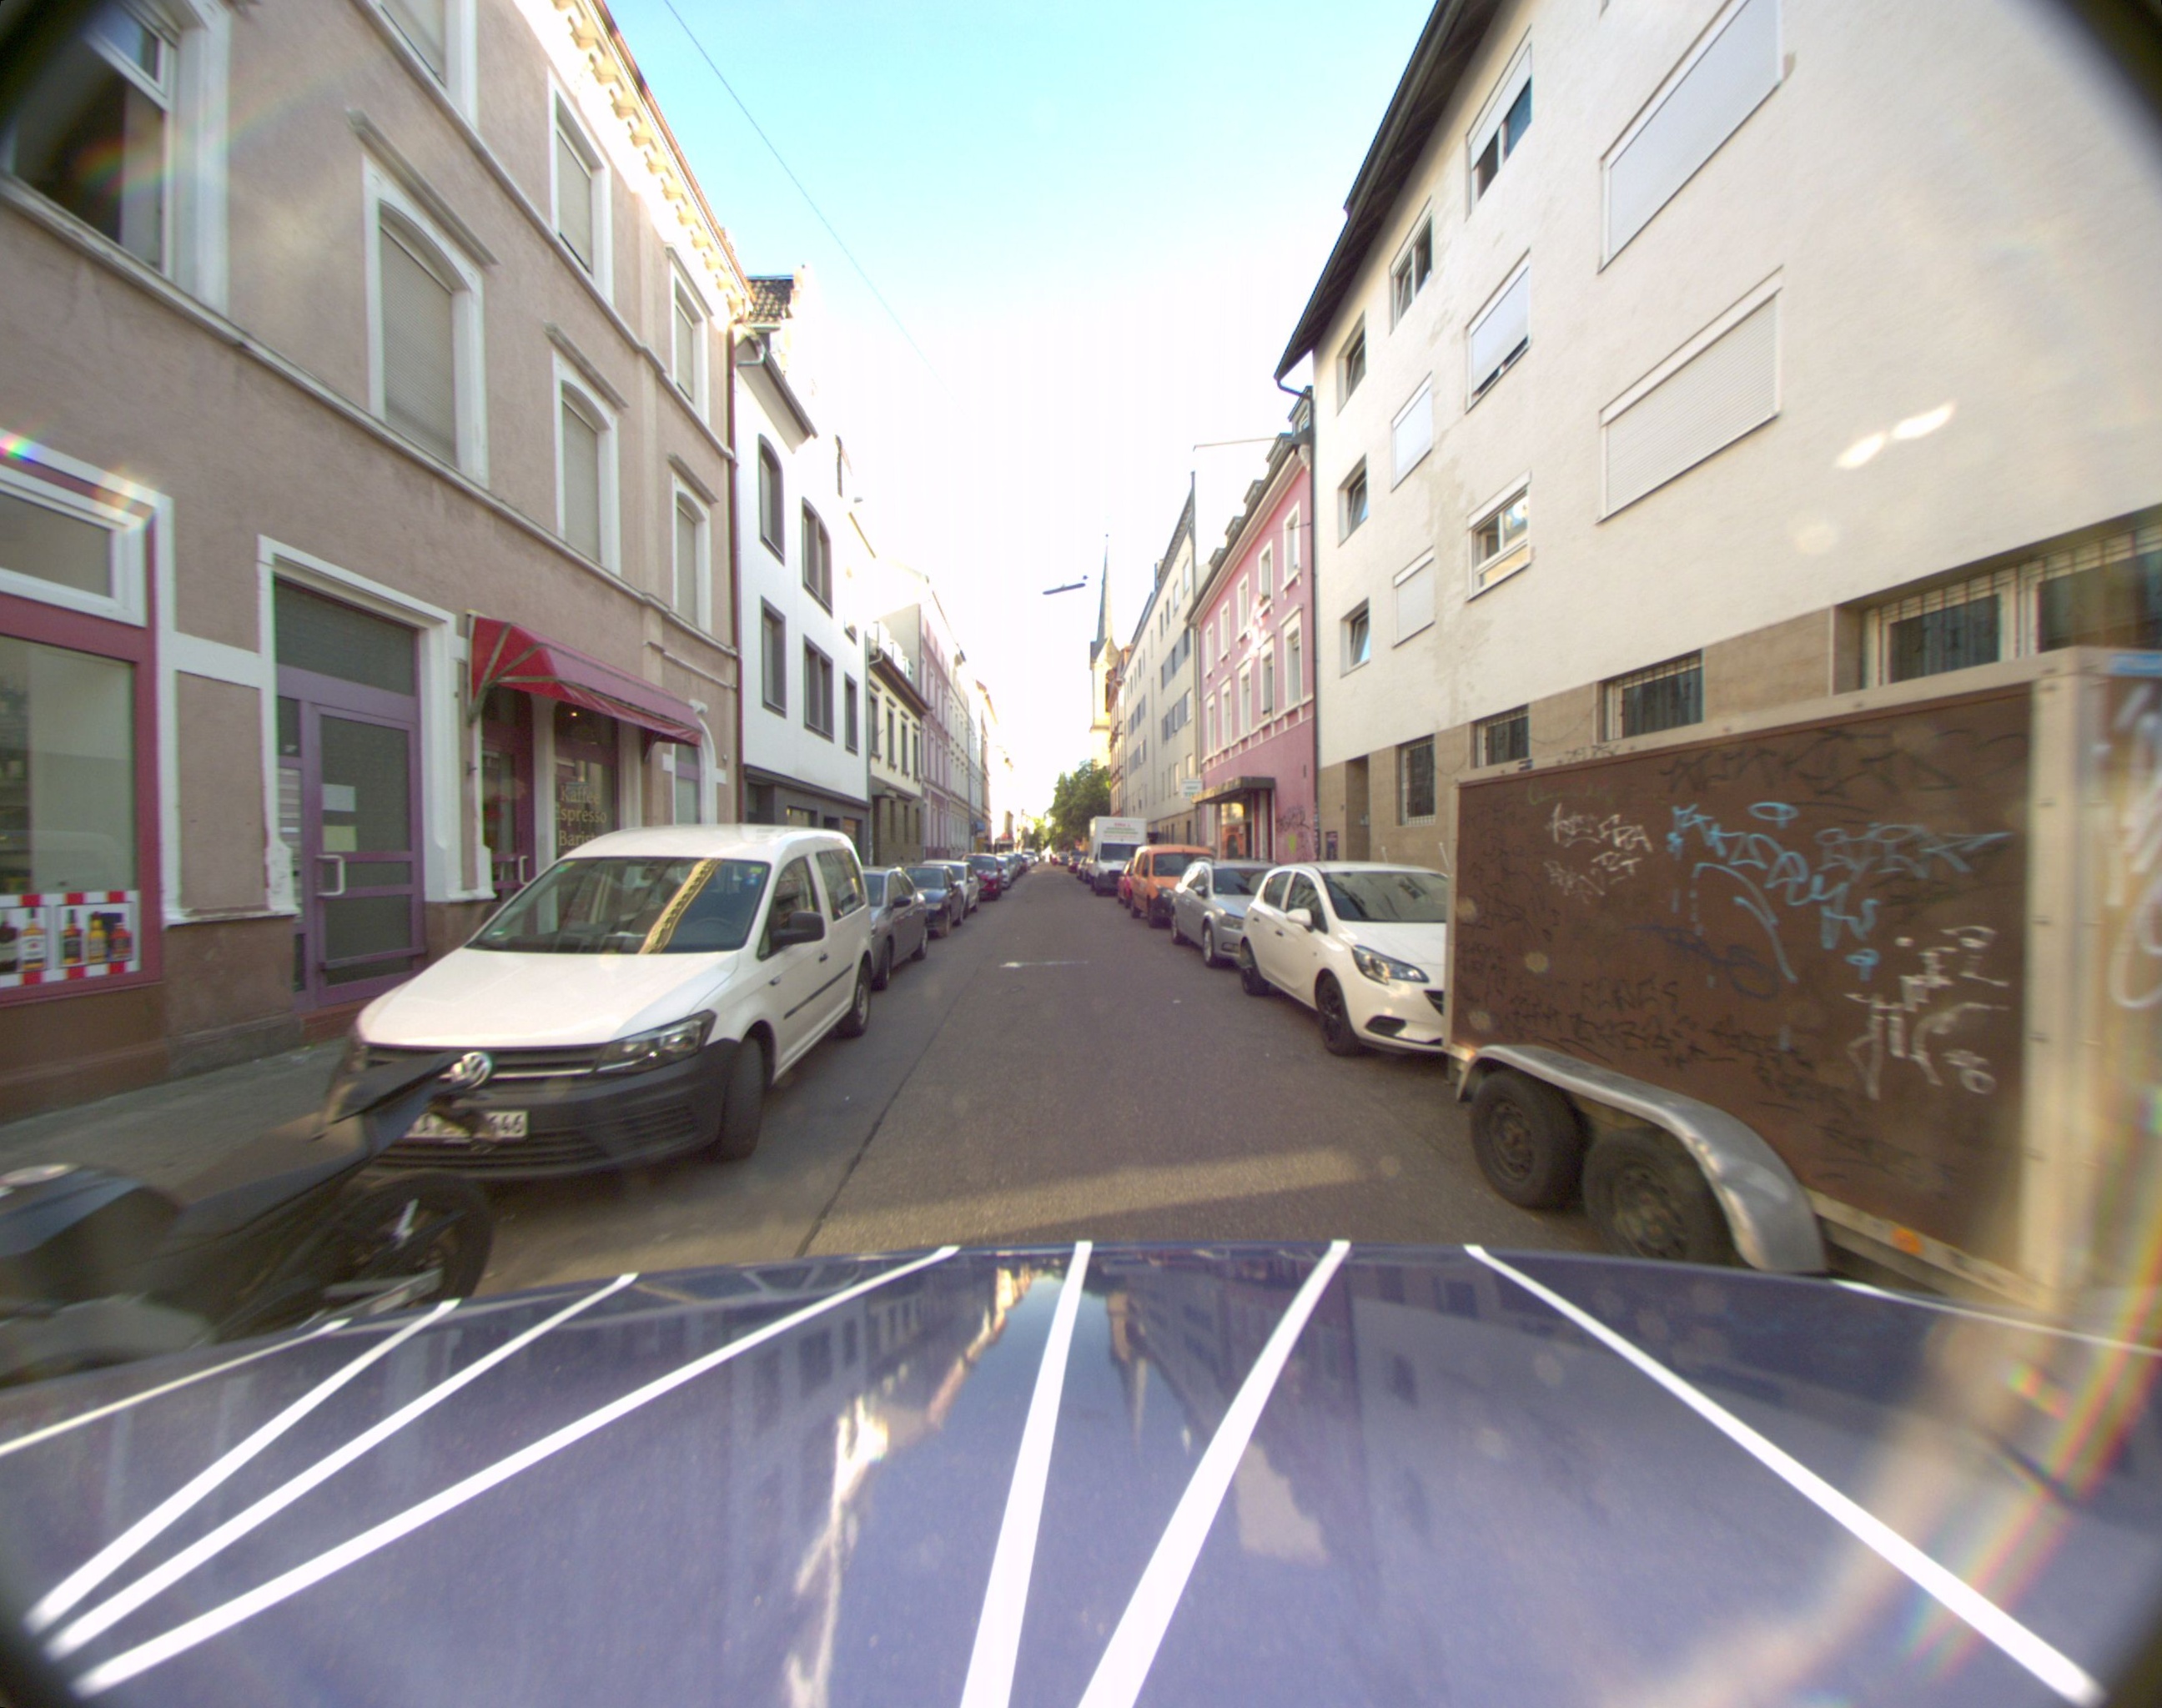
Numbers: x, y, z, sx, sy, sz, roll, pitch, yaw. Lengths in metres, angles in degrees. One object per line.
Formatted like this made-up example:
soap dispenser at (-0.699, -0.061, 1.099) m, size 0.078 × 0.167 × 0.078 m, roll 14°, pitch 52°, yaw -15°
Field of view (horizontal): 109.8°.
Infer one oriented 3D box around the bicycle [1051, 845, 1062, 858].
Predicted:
bicycle at (-3.284, -0.316, 101.989) m, size 1.020 × 1.641 × 3.545 m, roll -3°, pitch 1°, yaw -7°

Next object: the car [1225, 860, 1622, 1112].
car at (2.588, 0.869, 6.831) m, size 1.681 × 1.546 × 3.816 m, roll 0°, pitch 1°, yaw -3°

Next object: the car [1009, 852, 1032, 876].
car at (-5.529, 0.863, 69.163) m, size 1.999 × 2.002 × 4.561 m, roll -2°, pitch 1°, yaw -5°

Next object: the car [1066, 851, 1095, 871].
car at (-0.109, 0.524, 64.167) m, size 1.927 × 1.522 × 4.561 m, roll -2°, pitch 1°, yaw -6°

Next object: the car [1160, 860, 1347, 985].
car at (2.429, 0.882, 11.883) m, size 1.678 × 1.488 × 4.529 m, roll 0°, pitch 1°, yaw -3°

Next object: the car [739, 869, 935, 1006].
car at (-3.088, 0.971, 10.414) m, size 1.613 × 1.400 × 3.880 m, roll 0°, pitch 1°, yaw -3°

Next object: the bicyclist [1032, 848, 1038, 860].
bicyclist at (-6.648, -0.031, 109.282) m, size 0.716 × 1.650 × 0.876 m, roll -2°, pitch 1°, yaw -5°

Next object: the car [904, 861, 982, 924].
car at (-3.680, 0.970, 20.810) m, size 1.620 × 1.495 × 3.771 m, roll 0°, pitch 1°, yaw -3°

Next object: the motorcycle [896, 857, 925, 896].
motorcycle at (-6.419, 0.826, 28.749) m, size 0.667 × 1.388 × 2.036 m, roll -2°, pitch 1°, yaw -3°

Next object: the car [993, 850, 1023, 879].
car at (-4.594, 0.631, 48.347) m, size 1.714 × 1.721 × 4.219 m, roll 0°, pitch 1°, yaw -3°

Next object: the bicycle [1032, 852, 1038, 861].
bicycle at (-6.628, 0.324, 109.295) m, size 0.729 × 1.173 × 2.487 m, roll -2°, pitch 1°, yaw -5°

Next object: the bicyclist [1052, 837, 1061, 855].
bicyclist at (-3.310, -1.057, 101.813) m, size 1.020 × 2.280 × 1.531 m, roll -3°, pitch 1°, yaw -7°

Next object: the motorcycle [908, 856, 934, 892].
motorcycle at (-6.506, 0.798, 30.974) m, size 0.697 × 1.388 × 2.036 m, roll -2°, pitch 1°, yaw -3°

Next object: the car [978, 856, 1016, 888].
car at (-4.036, 0.830, 36.843) m, size 1.613 × 1.388 × 3.880 m, roll 0°, pitch 1°, yaw -3°

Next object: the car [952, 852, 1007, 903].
car at (-3.788, 0.818, 28.833) m, size 1.714 × 1.721 × 4.406 m, roll 0°, pitch 1°, yaw -3°

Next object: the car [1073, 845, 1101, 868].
car at (0.504, 0.238, 70.642) m, size 1.999 × 2.002 × 4.561 m, roll -2°, pitch 1°, yaw -6°

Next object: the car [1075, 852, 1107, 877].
car at (0.593, 0.638, 47.896) m, size 1.687 × 1.482 × 3.912 m, roll 2°, pitch 1°, yaw -3°

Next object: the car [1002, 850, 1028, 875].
car at (-4.732, 0.582, 55.117) m, size 1.714 × 1.721 × 4.219 m, roll 0°, pitch 1°, yaw -3°

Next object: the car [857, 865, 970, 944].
car at (-3.429, 0.985, 16.232) m, size 1.736 × 1.388 × 3.880 m, roll 0°, pitch 1°, yaw -3°

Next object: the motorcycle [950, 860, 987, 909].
motorcycle at (-3.621, 0.959, 24.651) m, size 0.990 × 1.481 × 2.266 m, roll 0°, pitch 1°, yaw -3°

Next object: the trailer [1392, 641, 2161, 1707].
trailer at (2.769, 0.626, 2.132) m, size 1.666 × 2.049 × 4.361 m, roll 0°, pitch 1°, yaw -5°

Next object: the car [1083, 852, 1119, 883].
car at (1.054, 0.691, 42.070) m, size 1.687 × 1.579 × 3.912 m, roll 2°, pitch 1°, yaw -3°

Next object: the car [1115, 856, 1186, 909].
car at (2.072, 0.816, 23.548) m, size 1.687 × 1.458 × 3.658 m, roll 0°, pitch 1°, yaw -3°

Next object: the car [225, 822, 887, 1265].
car at (-2.694, 0.753, 5.315) m, size 1.753 × 1.806 × 4.368 m, roll 0°, pitch 1°, yaw -3°

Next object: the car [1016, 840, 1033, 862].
car at (-7.393, -0.384, 99.290) m, size 1.999 × 2.777 × 4.561 m, roll -3°, pitch 1°, yaw -6°

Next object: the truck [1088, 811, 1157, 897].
truck at (1.594, -0.049, 31.786) m, size 2.297 × 3.165 × 7.042 m, roll 0°, pitch 1°, yaw -2°

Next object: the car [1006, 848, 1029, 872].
car at (-5.028, 0.463, 60.402) m, size 1.714 × 1.802 × 4.219 m, roll 0°, pitch 1°, yaw -3°

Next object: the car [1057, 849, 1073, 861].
car at (-2.336, 0.116, 109.333) m, size 1.927 × 1.522 × 4.561 m, roll -2°, pitch 1°, yaw -6°

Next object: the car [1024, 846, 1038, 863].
car at (-8.197, 0.035, 125.333) m, size 1.999 × 2.777 × 4.561 m, roll -3°, pitch 1°, yaw -6°

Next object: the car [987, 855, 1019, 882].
car at (-4.408, 0.784, 43.141) m, size 1.613 × 1.444 × 3.880 m, roll 0°, pitch 1°, yaw -3°

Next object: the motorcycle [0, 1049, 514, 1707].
motorcycle at (-2.369, 1.209, 1.537) m, size 0.720 × 1.080 × 1.997 m, roll -1°, pitch 1°, yaw 8°

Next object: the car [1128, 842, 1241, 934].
car at (2.217, 0.665, 17.392) m, size 1.807 × 1.834 × 4.242 m, roll 0°, pitch 1°, yaw -3°

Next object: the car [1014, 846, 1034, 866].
car at (-6.171, 0.219, 81.825) m, size 1.999 × 2.002 × 4.561 m, roll -2°, pitch 1°, yaw -6°
